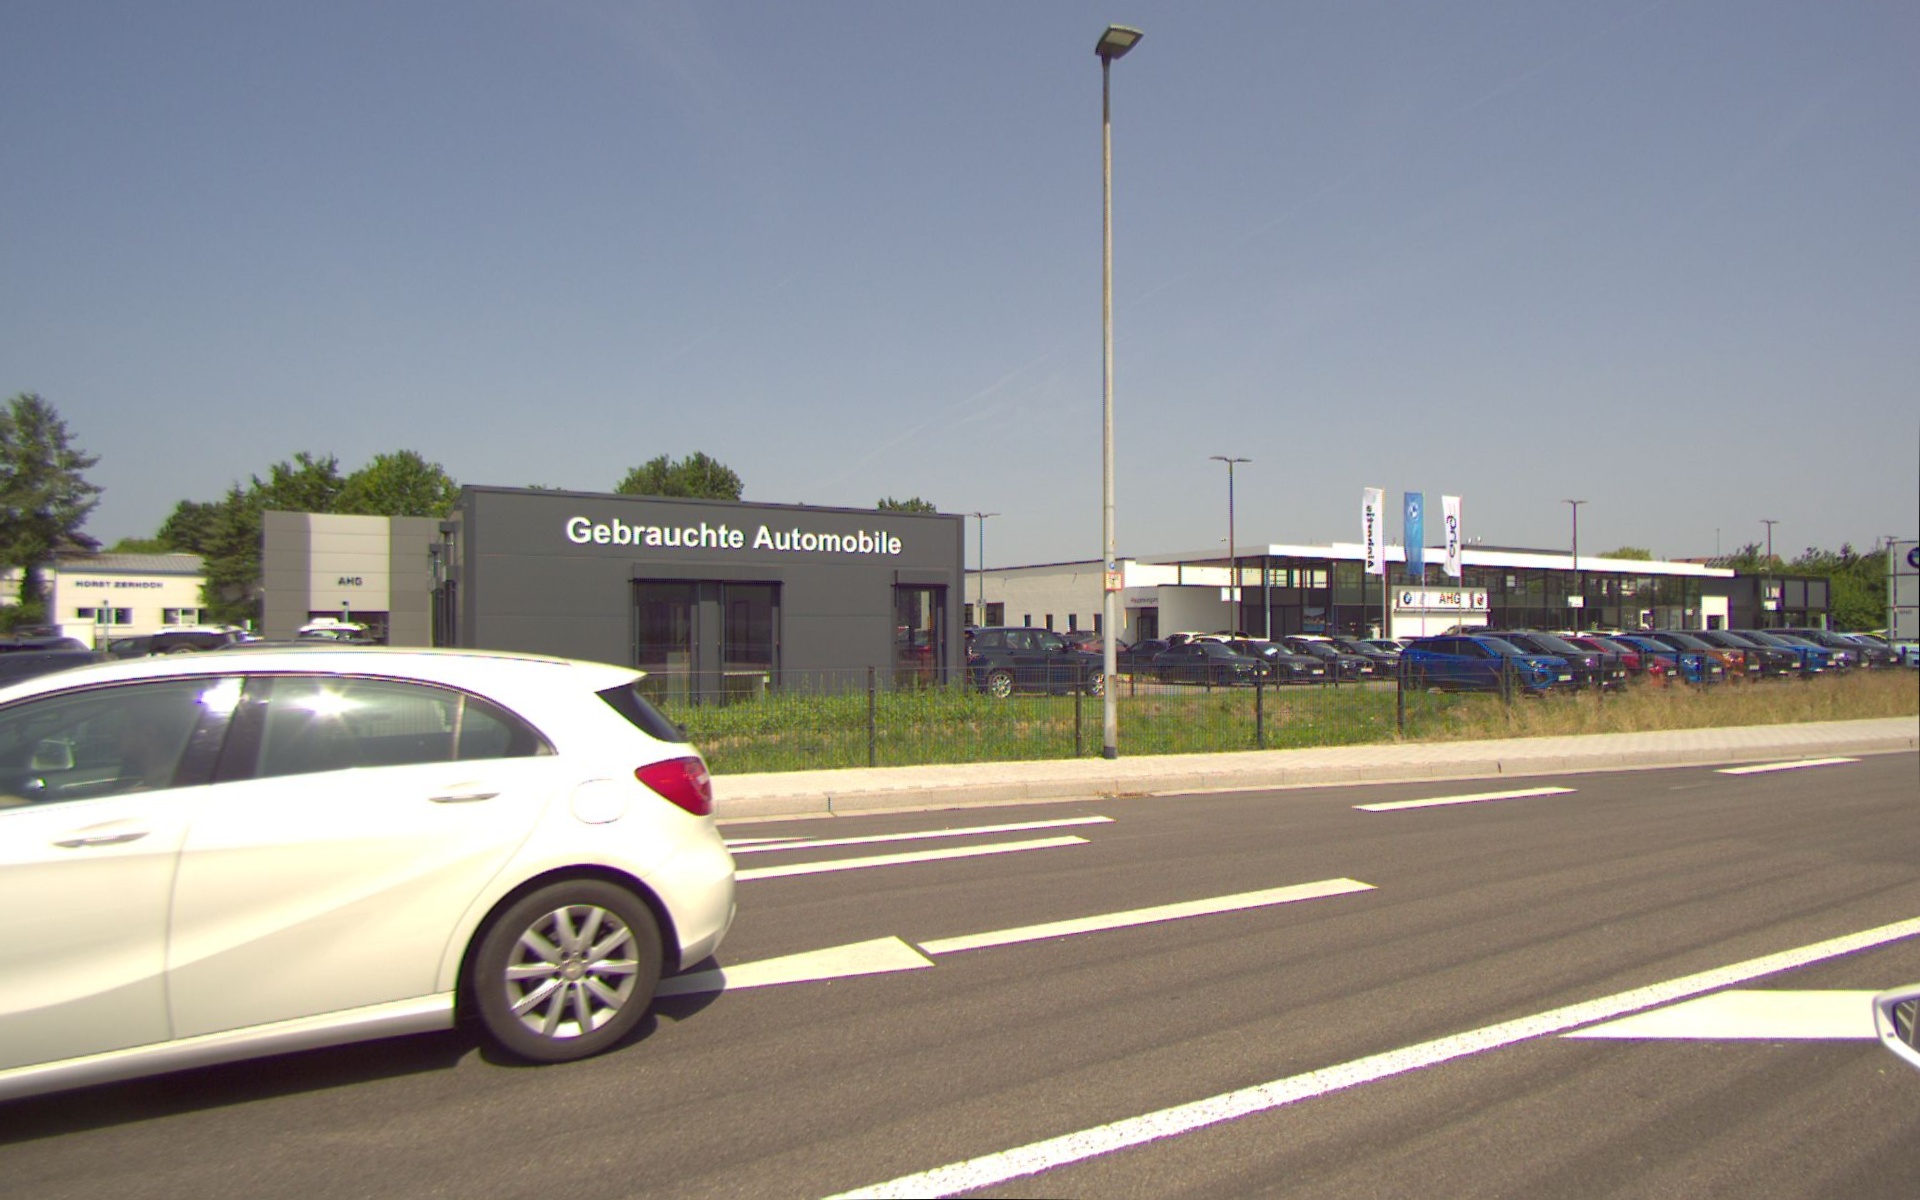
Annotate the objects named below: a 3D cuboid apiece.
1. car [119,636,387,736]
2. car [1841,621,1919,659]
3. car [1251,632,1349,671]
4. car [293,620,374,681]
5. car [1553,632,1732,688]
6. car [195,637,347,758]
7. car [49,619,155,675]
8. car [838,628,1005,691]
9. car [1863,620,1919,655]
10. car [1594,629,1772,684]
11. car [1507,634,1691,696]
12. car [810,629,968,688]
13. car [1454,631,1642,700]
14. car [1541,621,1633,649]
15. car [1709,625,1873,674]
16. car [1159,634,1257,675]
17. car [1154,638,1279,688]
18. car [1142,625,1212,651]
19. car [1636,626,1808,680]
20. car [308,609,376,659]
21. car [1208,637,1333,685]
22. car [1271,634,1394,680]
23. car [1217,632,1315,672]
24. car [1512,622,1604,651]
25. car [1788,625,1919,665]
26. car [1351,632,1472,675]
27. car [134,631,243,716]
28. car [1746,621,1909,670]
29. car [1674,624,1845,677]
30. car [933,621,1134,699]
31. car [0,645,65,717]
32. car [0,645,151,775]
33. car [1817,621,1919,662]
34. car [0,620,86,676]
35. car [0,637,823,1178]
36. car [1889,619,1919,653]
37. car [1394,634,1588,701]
[{"bbox_3d":[-13.615,1.586,19.699,4.113,1.653,1.808,-1,-1,-31],"label":"car"},{"bbox_3d":[39.084,1.615,41.120,1.793,1.486,4.147,-1,-1,-29],"label":"car"},{"bbox_3d":[15.284,2.278,45.285,1.794,1.607,3.967,-1,-1,-31],"label":"car"},{"bbox_3d":[-16.401,1.268,26.396,1.667,1.440,3.818,-1,-1,-31],"label":"car"},{"bbox_3d":[19.916,1.714,29.479,1.766,1.464,3.967,-1,-1,-31],"label":"car"},{"bbox_3d":[-11.195,1.476,16.569,1.802,1.653,4.127,-1,-1,-31],"label":"car"},{"bbox_3d":[-24.088,1.269,28.320,1.667,1.440,3.665,-1,-1,-31],"label":"car"},{"bbox_3d":[-1.131,1.737,30.257,4.697,1.761,1.944,1,-2,-31],"label":"car"},{"bbox_3d":[41.431,1.583,42.703,1.793,1.486,4.147,-1,-1,-29],"label":"car"},{"bbox_3d":[21.921,1.674,30.588,1.893,1.514,3.967,-1,-1,-31],"label":"car"},{"bbox_3d":[17.825,1.759,28.210,1.794,1.548,3.967,-1,-1,-31],"label":"car"},{"bbox_3d":[-2.219,1.813,32.000,4.697,1.761,1.944,1,-2,-31],"label":"car"},{"bbox_3d":[15.661,1.699,26.947,1.794,1.657,3.967,-1,-1,-31],"label":"car"},{"bbox_3d":[35.872,2.011,57.556,1.793,1.486,4.147,-1,-1,-29],"label":"car"},{"bbox_3d":[28.397,1.658,34.452,1.794,1.554,3.967,-1,-1,-31],"label":"car"},{"bbox_3d":[10.431,2.273,42.546,1.659,1.615,3.964,-1,-1,-33],"label":"car"},{"bbox_3d":[8.501,2.063,33.595,1.794,1.500,3.967,-1,-1,-31],"label":"car"},{"bbox_3d":[13.030,2.289,60.620,1.609,1.500,4.309,-1,-1,-31],"label":"car"},{"bbox_3d":[24.131,1.644,31.943,1.794,1.554,3.967,-1,-1,-31],"label":"car"},{"bbox_3d":[-19.124,1.030,31.158,1.667,1.440,3.665,-1,-1,-31],"label":"car"},{"bbox_3d":[10.762,2.081,35.046,1.794,1.500,3.967,-1,-1,-31],"label":"car"},{"bbox_3d":[13.505,2.029,36.643,1.794,1.500,3.967,-1,-1,-31],"label":"car"},{"bbox_3d":[13.315,2.227,43.936,1.659,1.615,3.964,-1,-1,-33],"label":"car"},{"bbox_3d":[33.542,2.049,56.449,1.793,1.486,4.147,-1,-1,-29],"label":"car"},{"bbox_3d":[34.592,1.682,38.532,1.855,1.409,3.971,-1,-1,-28],"label":"car"},{"bbox_3d":[17.376,2.042,38.815,1.794,1.514,3.967,-1,-1,-31],"label":"car"},{"bbox_3d":[-18.920,1.729,24.789,1.667,1.853,3.818,-1,-1,-31],"label":"car"},{"bbox_3d":[30.813,1.587,35.801,2.030,1.593,3.967,-1,-1,-31],"label":"car"},{"bbox_3d":[26.227,1.623,33.087,1.949,1.554,3.967,-1,-1,-31],"label":"car"},{"bbox_3d":[1.848,1.416,24.694,4.697,1.761,1.944,1,-2,-31],"label":"car"},{"bbox_3d":[-22.037,1.832,22.975,1.667,1.464,3.665,-1,-1,-31],"label":"car"},{"bbox_3d":[-13.828,1.558,15.059,1.943,1.653,3.970,-1,-1,-29],"label":"car"},{"bbox_3d":[36.827,1.619,39.831,1.793,1.554,3.970,-1,-1,-29],"label":"car"},{"bbox_3d":[-25.908,1.302,28.015,1.667,1.464,3.665,-1,-1,-31],"label":"car"},{"bbox_3d":[-2.695,0.880,3.705,3.999,1.434,1.774,0,-2,-28],"label":"car"},{"bbox_3d":[43.893,1.558,44.140,1.793,1.486,4.147,-1,-1,-29],"label":"car"},{"bbox_3d":[13.450,1.652,25.662,1.889,1.500,3.967,-1,-1,-31],"label":"car"}]
